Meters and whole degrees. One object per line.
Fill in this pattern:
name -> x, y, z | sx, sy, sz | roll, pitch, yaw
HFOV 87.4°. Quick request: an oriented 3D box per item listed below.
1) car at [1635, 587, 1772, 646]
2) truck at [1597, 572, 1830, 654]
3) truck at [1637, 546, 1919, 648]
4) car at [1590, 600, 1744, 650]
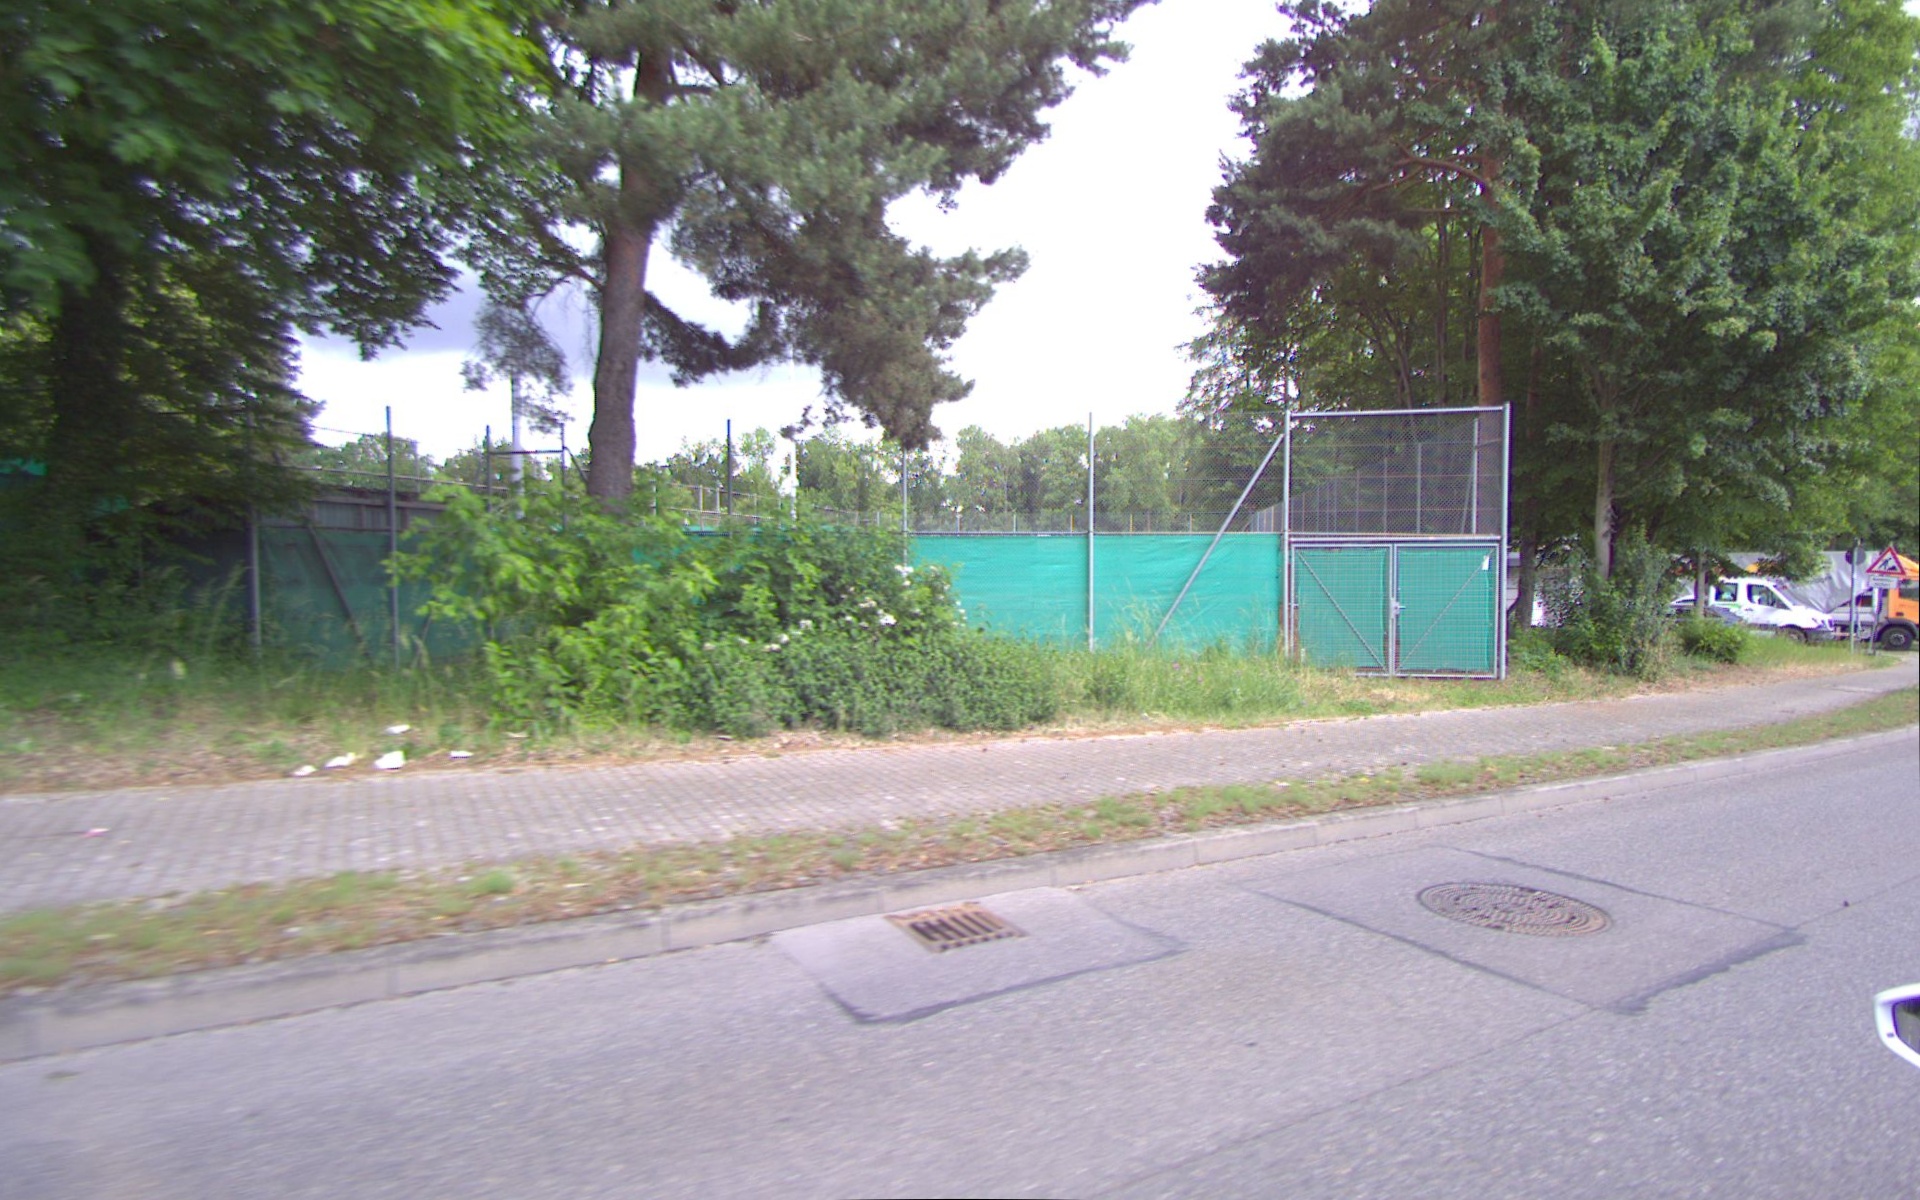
car -> 28.175, 0.569, 38.128 | 3.942, 1.935, 1.772 | 4, 3, 42
truck -> 26.369, 0.381, 35.341 | 6.314, 2.448, 2.112 | 4, 1, 42
truck -> 32.023, -0.198, 39.019 | 9.133, 3.578, 2.550 | 2, 1, 44
car -> 22.667, 0.789, 32.328 | 3.935, 1.344, 1.711 | 3, -1, 36
